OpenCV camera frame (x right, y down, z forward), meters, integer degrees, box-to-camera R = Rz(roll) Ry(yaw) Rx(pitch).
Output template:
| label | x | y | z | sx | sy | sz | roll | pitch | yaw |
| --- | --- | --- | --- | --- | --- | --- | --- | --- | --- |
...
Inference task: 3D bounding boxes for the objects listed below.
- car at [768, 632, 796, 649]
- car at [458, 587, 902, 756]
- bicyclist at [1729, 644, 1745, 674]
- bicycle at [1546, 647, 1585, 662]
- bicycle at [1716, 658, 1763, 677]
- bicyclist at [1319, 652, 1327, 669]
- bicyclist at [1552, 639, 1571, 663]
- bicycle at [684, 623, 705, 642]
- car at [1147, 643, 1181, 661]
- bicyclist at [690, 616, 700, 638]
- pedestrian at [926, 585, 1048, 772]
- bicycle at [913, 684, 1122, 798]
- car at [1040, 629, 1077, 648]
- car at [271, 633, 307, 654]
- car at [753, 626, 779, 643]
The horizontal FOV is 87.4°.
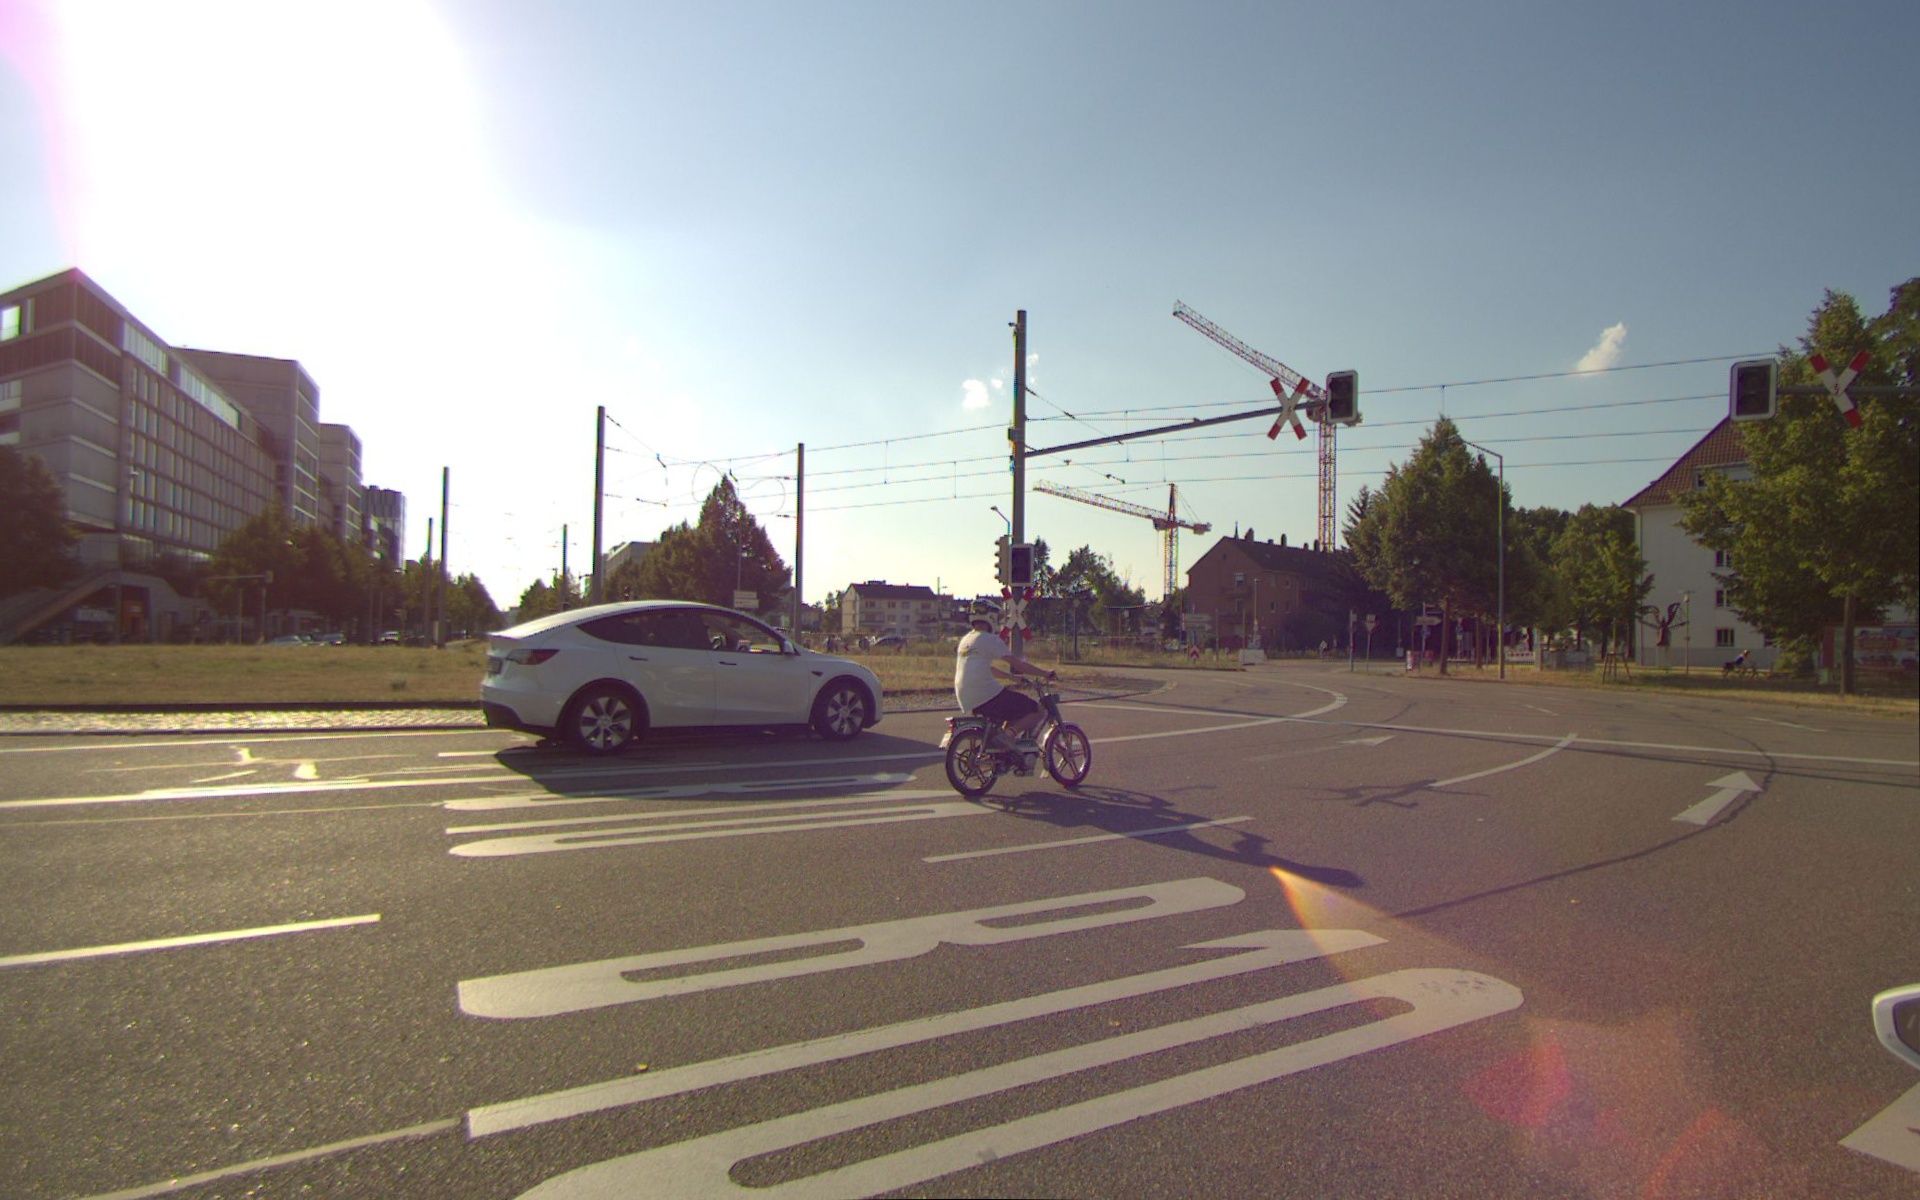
| label | x | y | z | sx | sy | sz | roll | pitch | yaw |
| --- | --- | --- | --- | --- | --- | --- | --- | --- | --- |
| car | -21.521 | 4.906 | 121.317 | 1.979 | 2.040 | 3.963 | 2 | -2 | -34 |
| car | -3.097 | 0.788 | 11.680 | 4.634 | 1.620 | 1.722 | 3 | -2 | -37 |
| bicyclist | 41.531 | 3.146 | 53.689 | 0.612 | 1.531 | 0.418 | 0 | -1 | 23 |
| bicycle | 35.953 | 3.254 | 59.664 | 1.954 | 0.836 | 0.430 | 0 | -1 | 16 |
| bicycle | 41.618 | 3.591 | 53.643 | 1.955 | 0.930 | 0.430 | 0 | -2 | 22 |
| bicyclist | 33.584 | 5.584 | 92.858 | 0.647 | 1.582 | 0.894 | 1 | -2 | 20 |
| bicyclist | 35.799 | 3.036 | 59.774 | 0.882 | 1.415 | 0.526 | 0 | -1 | 17 |
| bicycle | -21.121 | 2.612 | 79.940 | 1.513 | 1.493 | 0.480 | 1 | -2 | 1 |
| car | 24.827 | 6.291 | 122.230 | 3.764 | 2.040 | 1.664 | -1 | -3 | 41 |
| bicyclist | -21.072 | 2.153 | 79.942 | 0.596 | 1.694 | 0.478 | 1 | -2 | 2 |
| pedestrian | 0.230 | 0.662 | 8.735 | 0.843 | 1.539 | 0.653 | 2 | -2 | -27 |
| bicycle | 0.525 | 1.200 | 8.821 | 1.832 | 0.887 | 0.476 | 2 | -1 | -27 |
| car | 10.907 | 4.260 | 111.041 | 3.764 | 2.040 | 1.664 | -1 | -3 | 41 |
| car | -49.431 | 3.161 | 74.016 | 1.463 | 1.495 | 3.283 | 2 | -2 | -21 |
| car | -24.801 | 4.390 | 128.347 | 1.979 | 2.040 | 3.963 | 2 | -2 | -34 |
